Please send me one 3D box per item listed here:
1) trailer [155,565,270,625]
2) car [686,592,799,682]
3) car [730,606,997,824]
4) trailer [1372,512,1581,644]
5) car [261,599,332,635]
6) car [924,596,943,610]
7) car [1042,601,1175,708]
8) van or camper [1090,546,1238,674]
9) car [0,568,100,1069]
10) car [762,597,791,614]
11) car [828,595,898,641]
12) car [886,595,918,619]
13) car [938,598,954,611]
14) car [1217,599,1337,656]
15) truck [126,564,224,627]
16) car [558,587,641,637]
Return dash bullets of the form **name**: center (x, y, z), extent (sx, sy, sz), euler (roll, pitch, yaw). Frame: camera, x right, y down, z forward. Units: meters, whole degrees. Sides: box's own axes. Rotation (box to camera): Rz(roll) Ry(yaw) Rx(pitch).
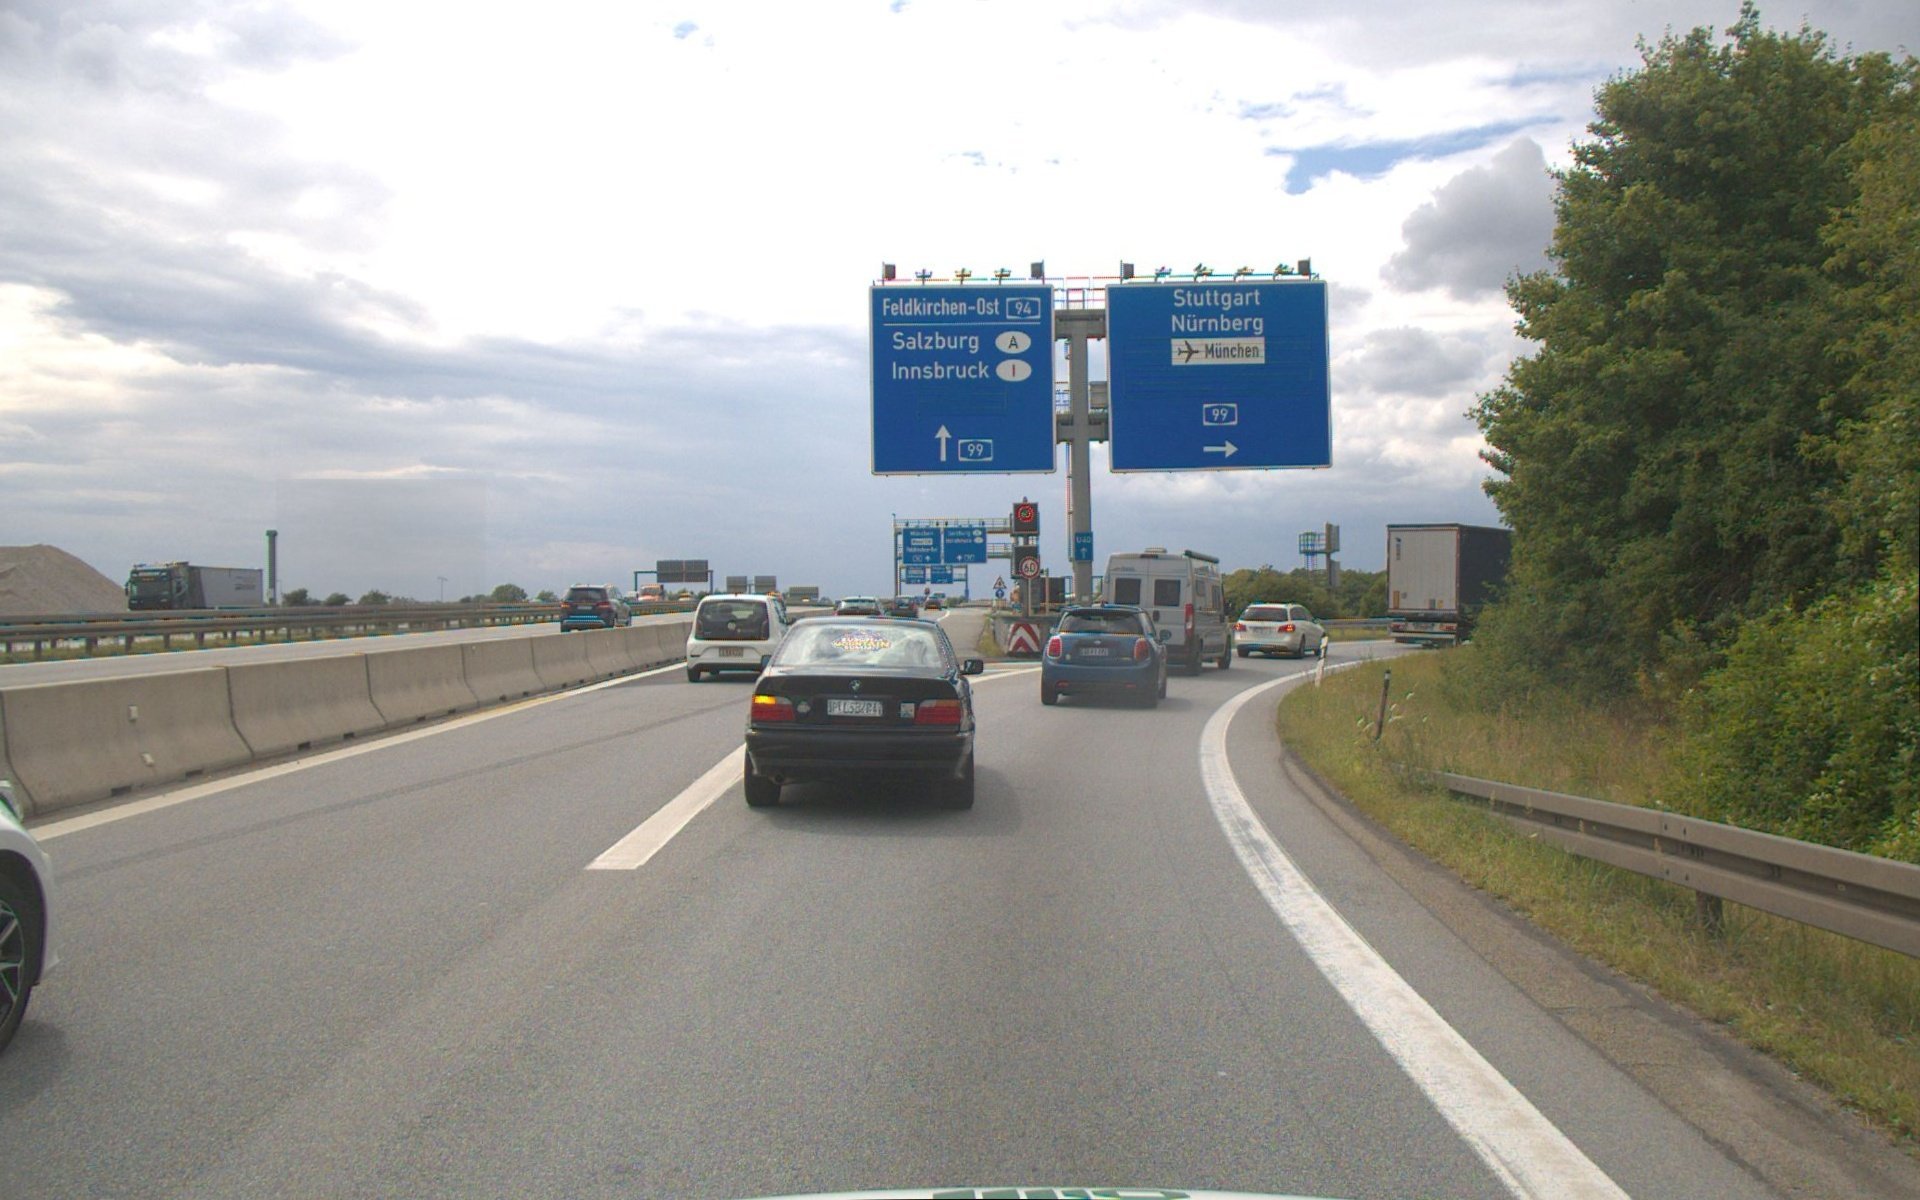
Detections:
- **trailer**: center (-44.162, -0.299, 98.112), extent (3.135, 3.326, 9.813), euler (0, 0, -5)
- **car**: center (-3.814, 0.615, 29.463), extent (1.553, 1.510, 3.535), euler (0, 0, 0)
- **car**: center (-0.637, 0.759, 12.913), extent (1.746, 1.402, 4.136), euler (0, 0, 0)
- **trailer**: center (18.970, -0.711, 59.897), extent (3.275, 4.266, 12.982), euler (0, 0, 36)
- **car**: center (-29.280, 0.732, 73.103), extent (1.653, 1.494, 4.002), euler (-1, 0, -3)
- **car**: center (-2.684, 0.287, 167.663), extent (1.766, 1.449, 4.000), euler (0, 0, 1)
- **car**: center (2.310, 0.760, 25.004), extent (1.692, 1.444, 3.669), euler (1, 0, 10)
- **van or camper**: center (4.677, 0.197, 36.949), extent (2.245, 2.613, 6.164), euler (0, 0, 17)
- **car**: center (-3.748, 0.673, 3.729), extent (1.666, 1.534, 3.839), euler (0, 0, -1)
- **car**: center (-15.835, 0.467, 142.864), extent (1.952, 1.494, 4.000), euler (0, 0, 1)
- **car**: center (-3.219, 0.569, 55.526), extent (1.952, 1.494, 4.001), euler (0, 0, 3)
- **car**: center (-3.478, 0.415, 99.600), extent (1.828, 1.449, 4.000), euler (0, 0, 0)
- **car**: center (-1.633, 0.529, 190.264), extent (1.766, 1.449, 4.000), euler (0, 0, 1)
- **car**: center (9.087, 0.743, 47.128), extent (2.163, 1.527, 4.782), euler (0, 0, 27)
- **truck**: center (-43.584, -0.259, 92.021), extent (3.088, 3.388, 5.617), euler (0, 0, -5)
- **car**: center (-12.835, 0.399, 59.232), extent (1.953, 1.713, 4.865), euler (0, 0, -1)
